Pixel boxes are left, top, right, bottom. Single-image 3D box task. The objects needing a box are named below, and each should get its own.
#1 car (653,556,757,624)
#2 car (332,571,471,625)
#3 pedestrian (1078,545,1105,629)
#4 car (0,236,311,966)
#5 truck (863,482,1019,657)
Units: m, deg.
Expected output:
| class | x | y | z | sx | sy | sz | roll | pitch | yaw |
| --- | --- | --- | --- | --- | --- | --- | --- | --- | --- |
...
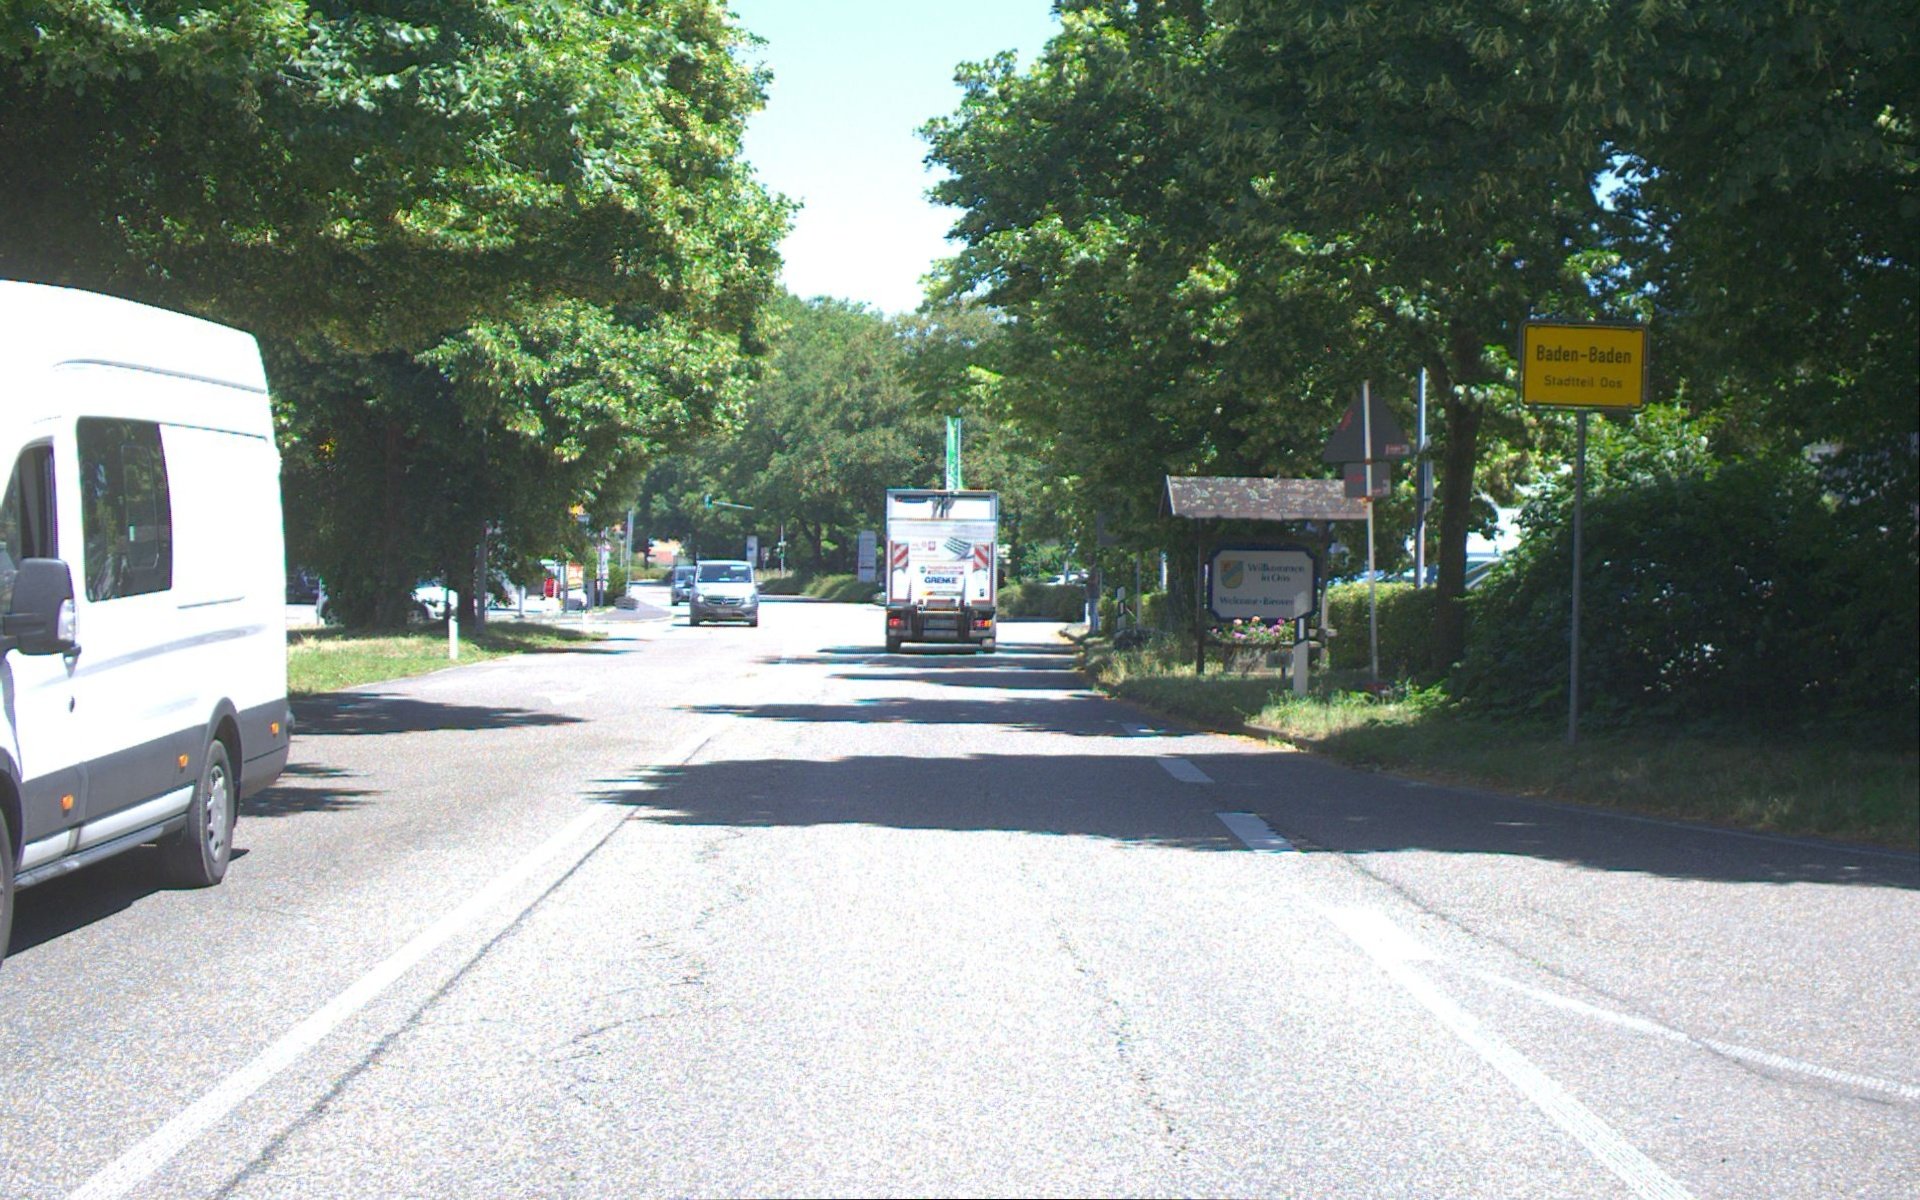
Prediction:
| class | x | y | z | sx | sy | sz | roll | pitch | yaw |
| --- | --- | --- | --- | --- | --- | --- | --- | --- | --- |
| car | -7.192 | -0.296 | 96.604 | 1.993 | 1.851 | 5.317 | 0 | 0 | -15 |
| car | -14.325 | -0.072 | 88.137 | 3.428 | 1.357 | 1.333 | 0 | 0 | 28 |
| pedestrian | 2.813 | -0.277 | 73.381 | 0.548 | 1.770 | 0.577 | 0 | 0 | 4 |
| car | -4.460 | -0.013 | 14.575 | 2.073 | 2.618 | 6.784 | 0 | 0 | 1 |
| truck | -0.296 | -0.603 | 64.026 | 2.534 | 3.124 | 5.360 | 0 | 1 | 4 |
